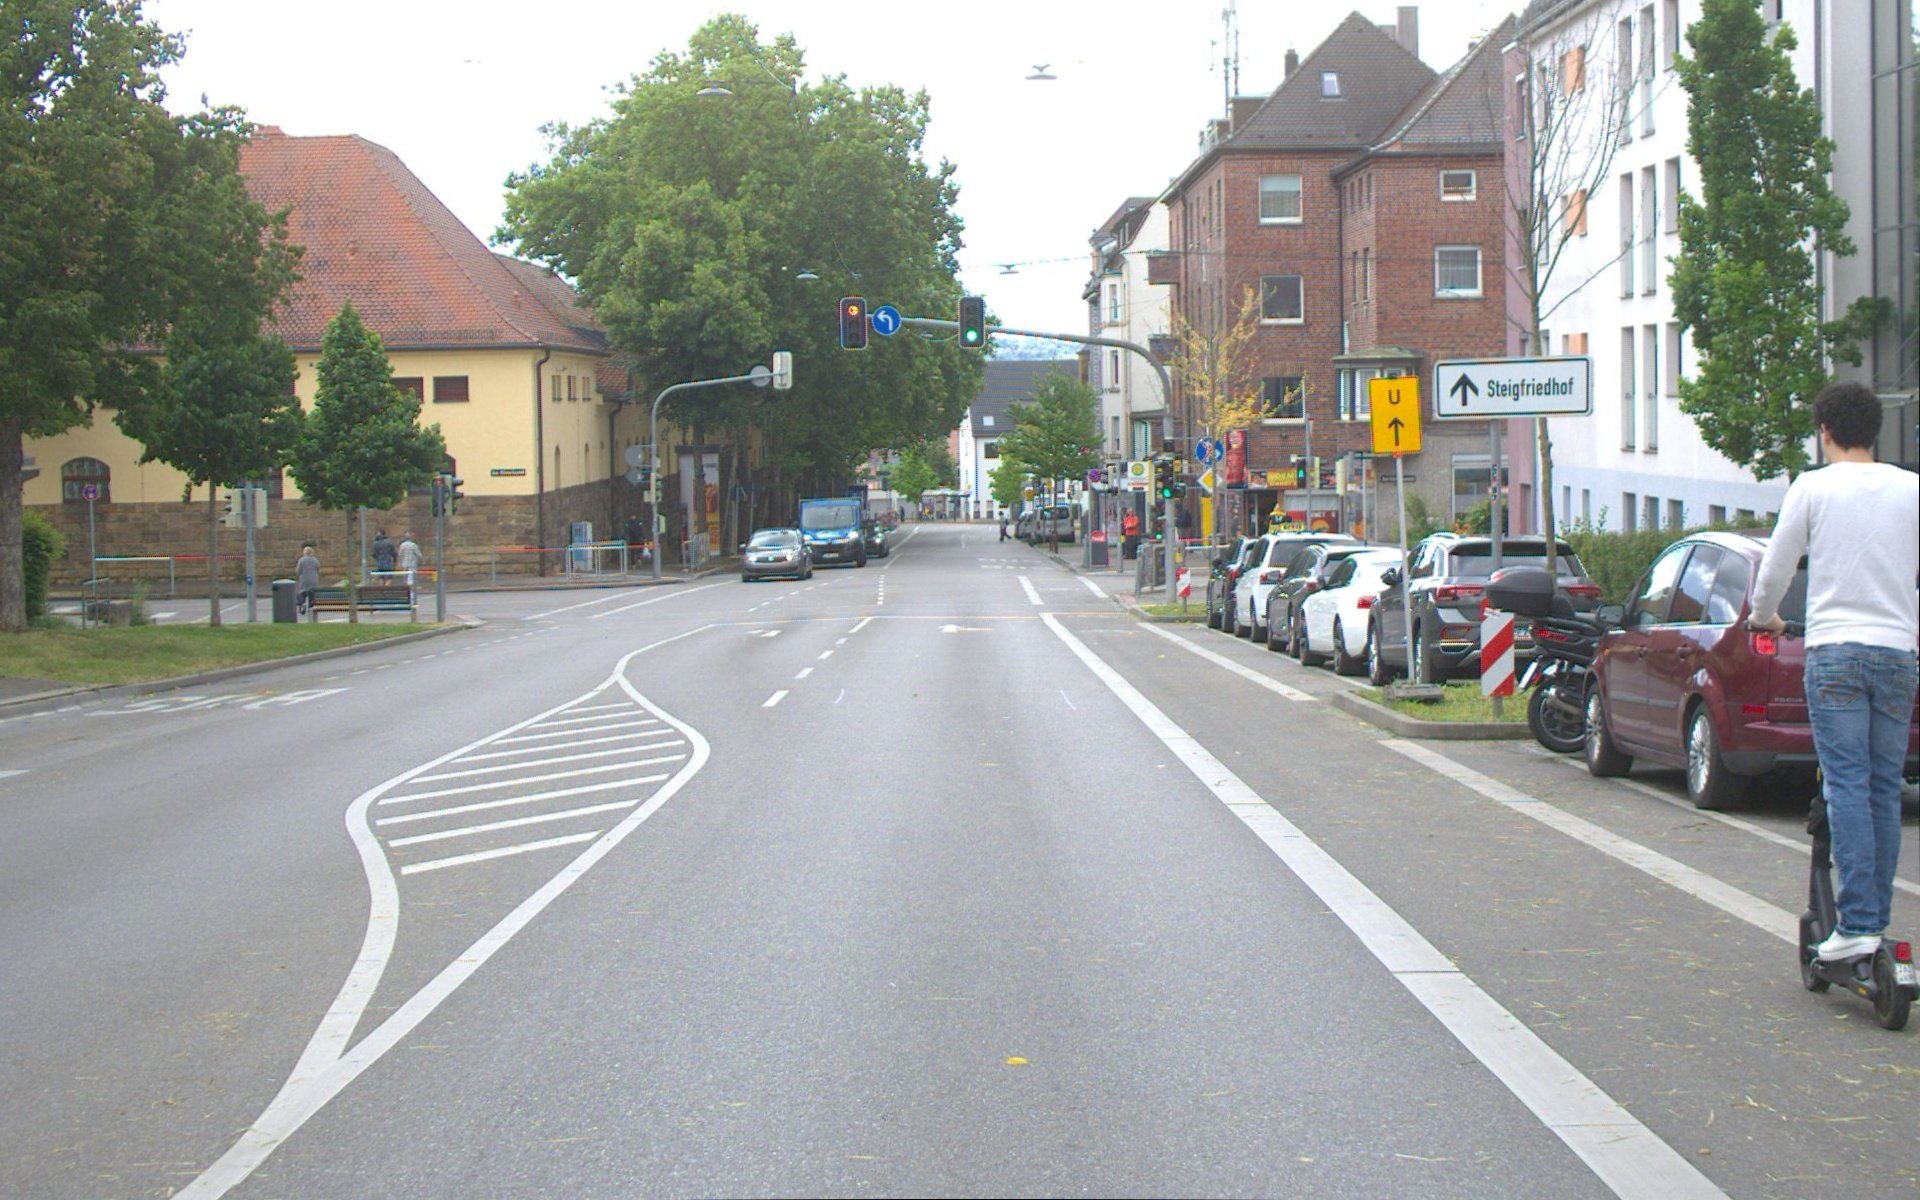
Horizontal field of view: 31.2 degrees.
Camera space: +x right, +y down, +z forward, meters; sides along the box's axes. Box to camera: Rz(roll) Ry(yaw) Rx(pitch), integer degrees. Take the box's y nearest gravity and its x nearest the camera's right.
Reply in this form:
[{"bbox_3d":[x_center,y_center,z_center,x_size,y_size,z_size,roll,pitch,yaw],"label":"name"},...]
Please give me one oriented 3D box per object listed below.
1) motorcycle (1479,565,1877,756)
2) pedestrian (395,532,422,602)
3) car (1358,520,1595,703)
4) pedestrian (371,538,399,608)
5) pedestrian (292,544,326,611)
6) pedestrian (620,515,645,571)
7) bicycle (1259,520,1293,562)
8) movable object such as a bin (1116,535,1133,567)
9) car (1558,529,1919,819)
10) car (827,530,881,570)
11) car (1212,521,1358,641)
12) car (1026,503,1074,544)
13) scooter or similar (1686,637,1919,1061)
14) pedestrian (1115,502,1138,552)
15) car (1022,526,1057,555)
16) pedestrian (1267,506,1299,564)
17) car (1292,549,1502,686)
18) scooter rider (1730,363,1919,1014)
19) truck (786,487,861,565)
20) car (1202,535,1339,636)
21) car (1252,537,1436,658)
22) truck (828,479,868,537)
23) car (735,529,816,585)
[{"bbox_3d":[4.969,0.408,23.865,2.597,1.274,0.753,0,1,-4],"label":"motorcycle"},{"bbox_3d":[-13.957,-0.833,87.066,0.564,1.771,0.717,0,1,0],"label":"pedestrian"},{"bbox_3d":[5.059,0.058,34.186,1.632,1.644,4.357,1,2,-1],"label":"car"},{"bbox_3d":[-14.621,-0.694,87.424,0.564,1.771,0.842,0,1,0],"label":"pedestrian"},{"bbox_3d":[-15.339,-0.530,80.997,0.564,1.561,0.842,0,1,5],"label":"pedestrian"},{"bbox_3d":[-10.419,-1.812,109.367,0.674,1.759,0.725,0,1,2],"label":"pedestrian"},{"bbox_3d":[9.177,-1.727,99.961,0.760,1.189,2.392,0,1,0],"label":"bicycle"},{"bbox_3d":[5.419,-1.612,112.977,0.453,1.053,0.410,0,1,20],"label":"movable object such as a bin"},{"bbox_3d":[4.851,0.353,20.617,1.680,1.539,4.339,0,1,-1],"label":"car"},{"bbox_3d":[-3.934,-1.868,127.988,1.703,1.409,4.192,-2,1,2],"label":"car"},{"bbox_3d":[4.890,-0.330,52.249,1.659,1.710,4.552,1,1,-1],"label":"car"},{"bbox_3d":[4.318,-3.706,165.685,1.993,1.929,4.920,0,1,-3],"label":"car"},{"bbox_3d":[2.810,0.737,11.048,0.490,1.159,2.075,0,1,-1],"label":"scooter or similar"},{"bbox_3d":[5.480,-2.399,113.230,0.565,1.631,0.680,0,1,20],"label":"pedestrian"},{"bbox_3d":[4.379,-3.276,189.445,1.668,1.542,3.757,0,1,-3],"label":"car"},{"bbox_3d":[9.412,-1.899,100.182,0.788,1.650,0.772,-3,1,1],"label":"pedestrian"},{"bbox_3d":[4.968,0.158,39.652,1.730,1.409,4.500,1,1,-1],"label":"car"},{"bbox_3d":[2.862,0.264,10.983,0.625,2.007,0.758,0,1,-1],"label":"scooter rider"},{"bbox_3d":[-4.442,-2.410,111.763,2.295,2.419,6.412,-2,1,-2],"label":"truck"},{"bbox_3d":[5.107,-0.253,57.126,1.734,1.583,4.573,1,1,-1],"label":"car"},{"bbox_3d":[5.031,-0.079,45.621,1.745,1.462,4.950,1,1,-1],"label":"car"},{"bbox_3d":[-6.557,-5.406,202.028,2.231,3.335,7.450,0,1,-1],"label":"truck"},{"bbox_3d":[-5.134,-1.223,95.924,1.756,1.467,4.306,-2,1,3],"label":"car"}]
